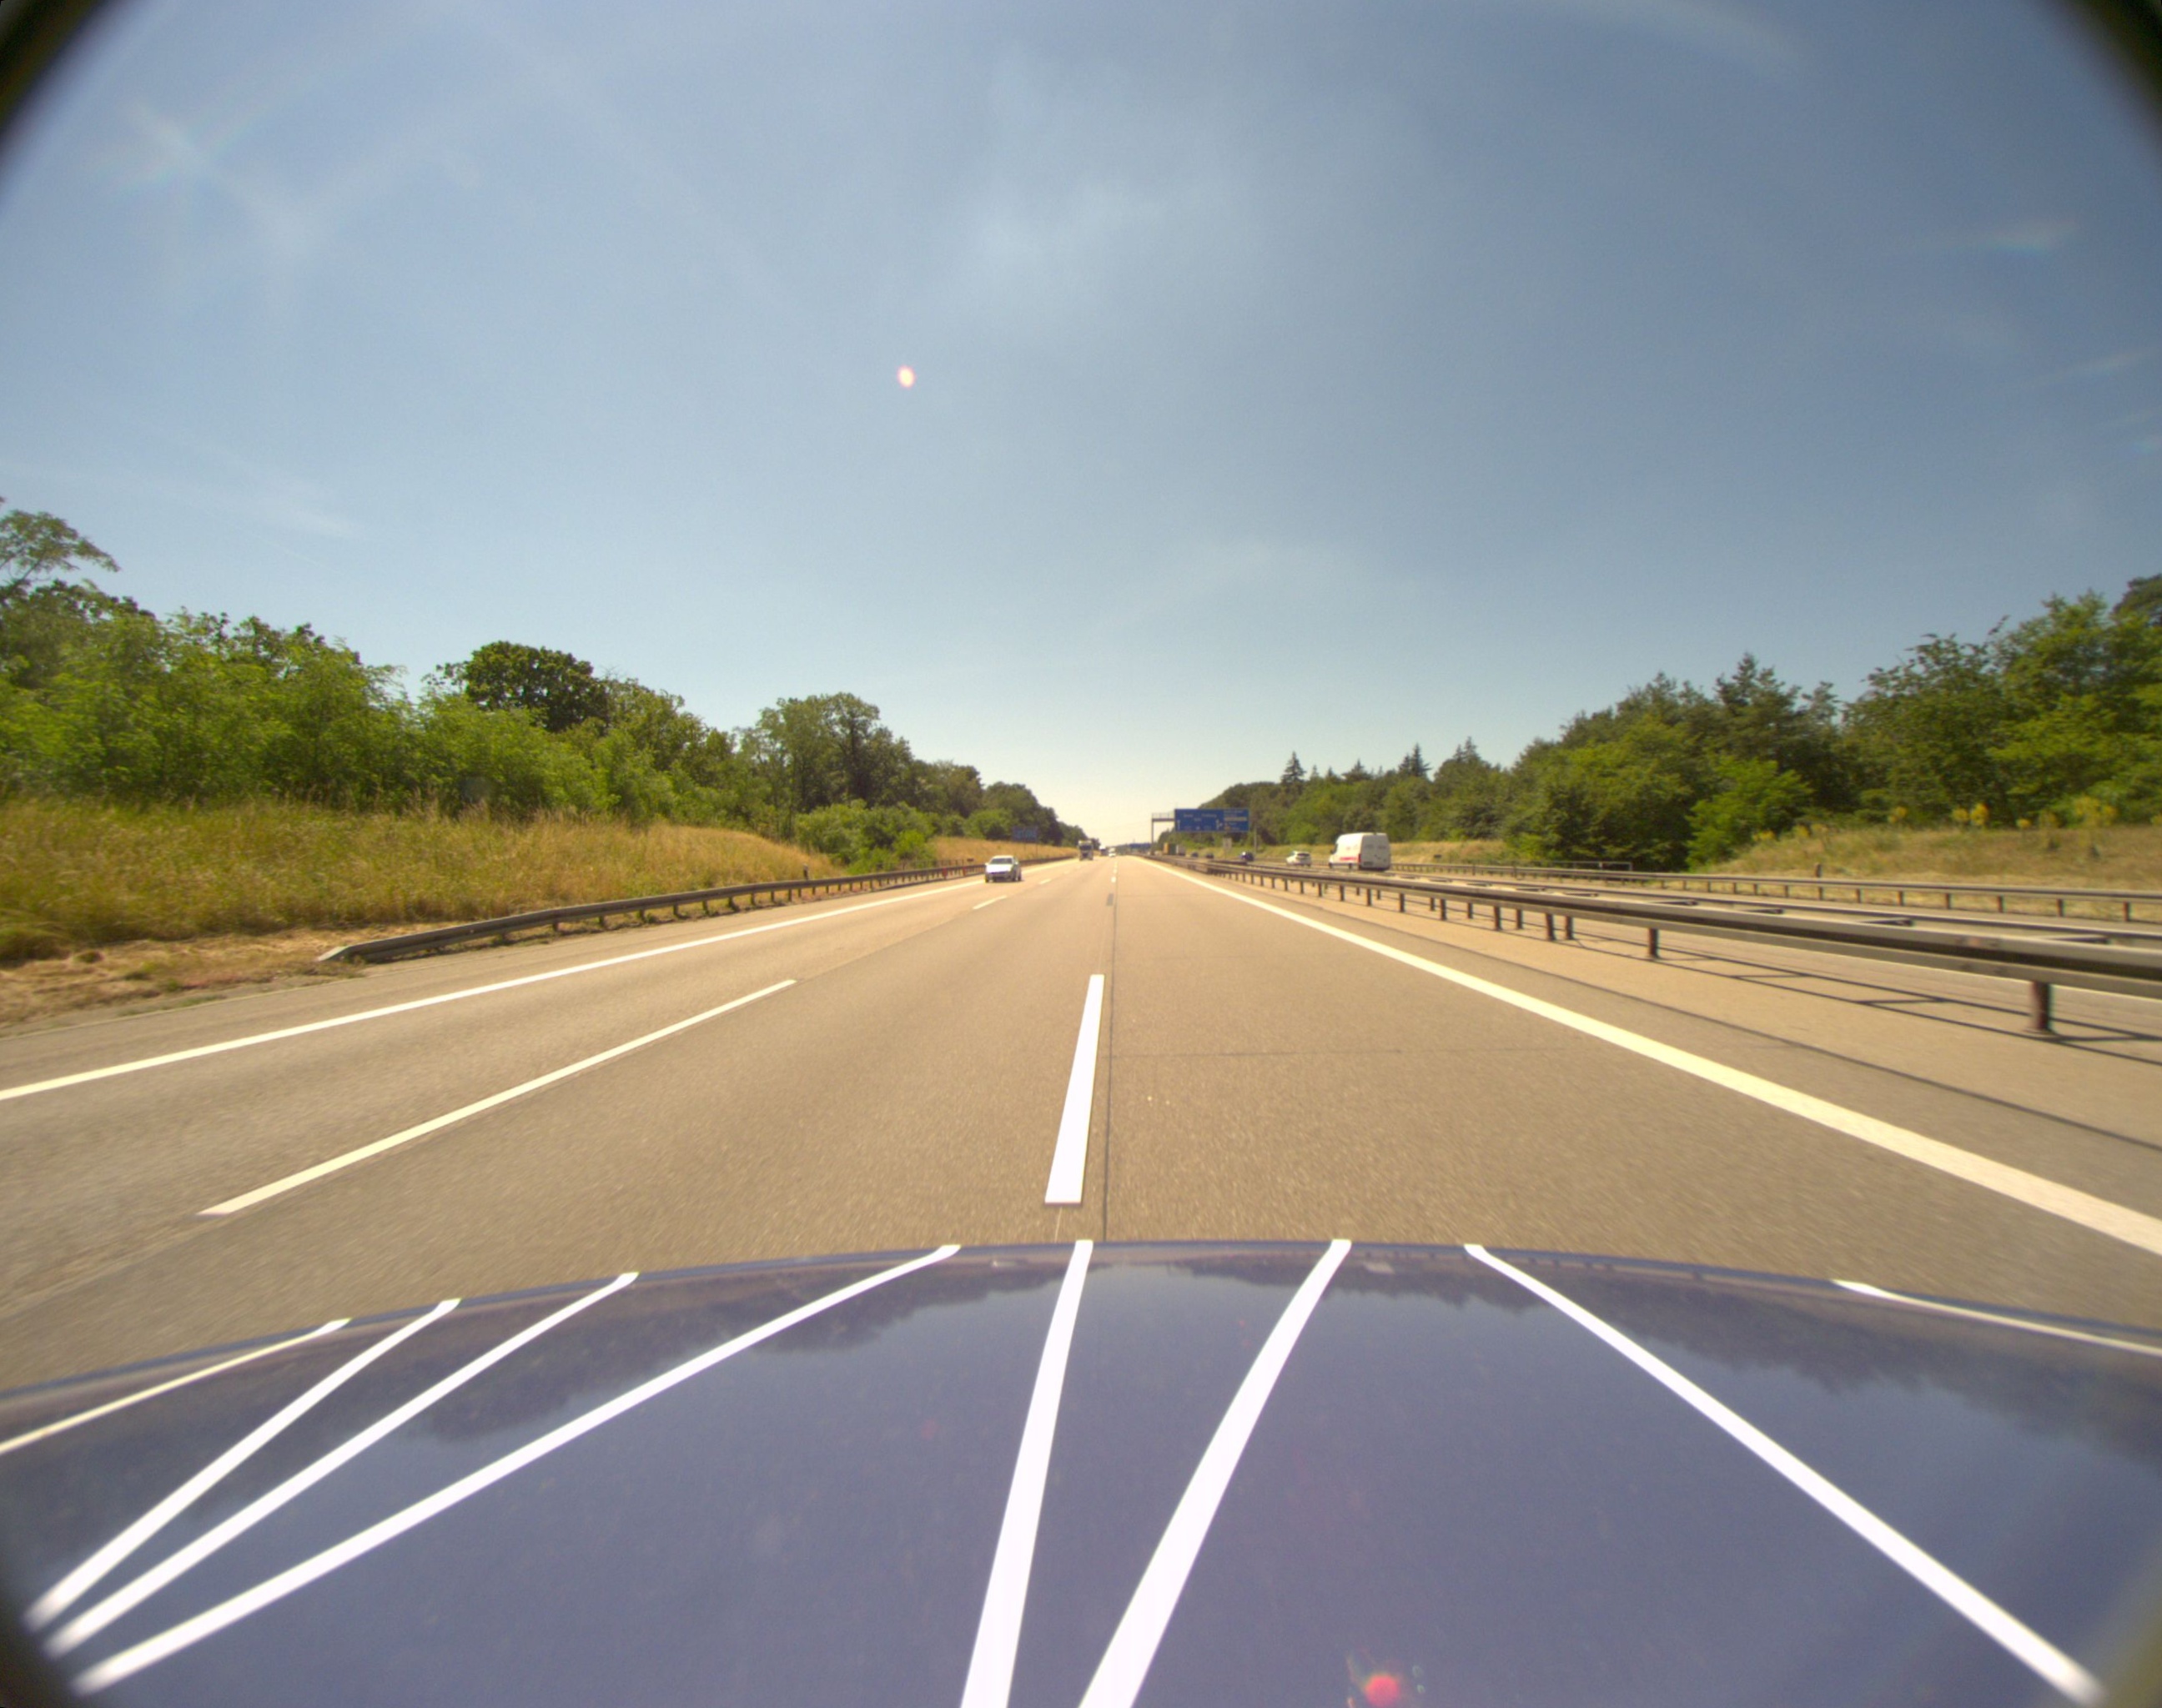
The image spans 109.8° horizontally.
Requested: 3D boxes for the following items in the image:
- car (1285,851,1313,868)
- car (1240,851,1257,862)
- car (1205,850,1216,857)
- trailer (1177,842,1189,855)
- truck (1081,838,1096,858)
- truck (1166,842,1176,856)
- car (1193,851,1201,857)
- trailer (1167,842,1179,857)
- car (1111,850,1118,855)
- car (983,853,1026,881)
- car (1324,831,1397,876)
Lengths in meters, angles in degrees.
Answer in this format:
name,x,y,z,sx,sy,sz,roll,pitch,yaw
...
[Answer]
name,x,y,z,sx,sy,sz,roll,pitch,yaw
car,23.615,0.574,82.583,1.706,1.651,5.117,2,0,3
car,25.186,0.358,114.260,1.706,1.536,4.536,2,0,3
car,28.041,-0.077,164.703,1.679,1.358,4.890,2,0,3
trailer,32.145,-1.741,239.781,2.631,3.925,11.159,2,0,3
truck,1.460,-1.149,145.955,2.605,3.811,5.970,-2,0,3
truck,27.064,-1.408,227.909,2.469,4.049,6.288,2,1,3
car,29.360,-0.010,192.377,1.527,1.531,4.111,2,0,3
trailer,26.757,-1.326,221.206,2.469,4.049,14.281,2,0,3
car,9.631,-0.427,218.229,1.796,1.412,4.000,-2,0,2
car,-4.298,0.709,43.147,1.749,1.457,3.981,-2,0,3
car,17.938,-0.033,49.228,2.170,2.609,7.544,2,0,3
